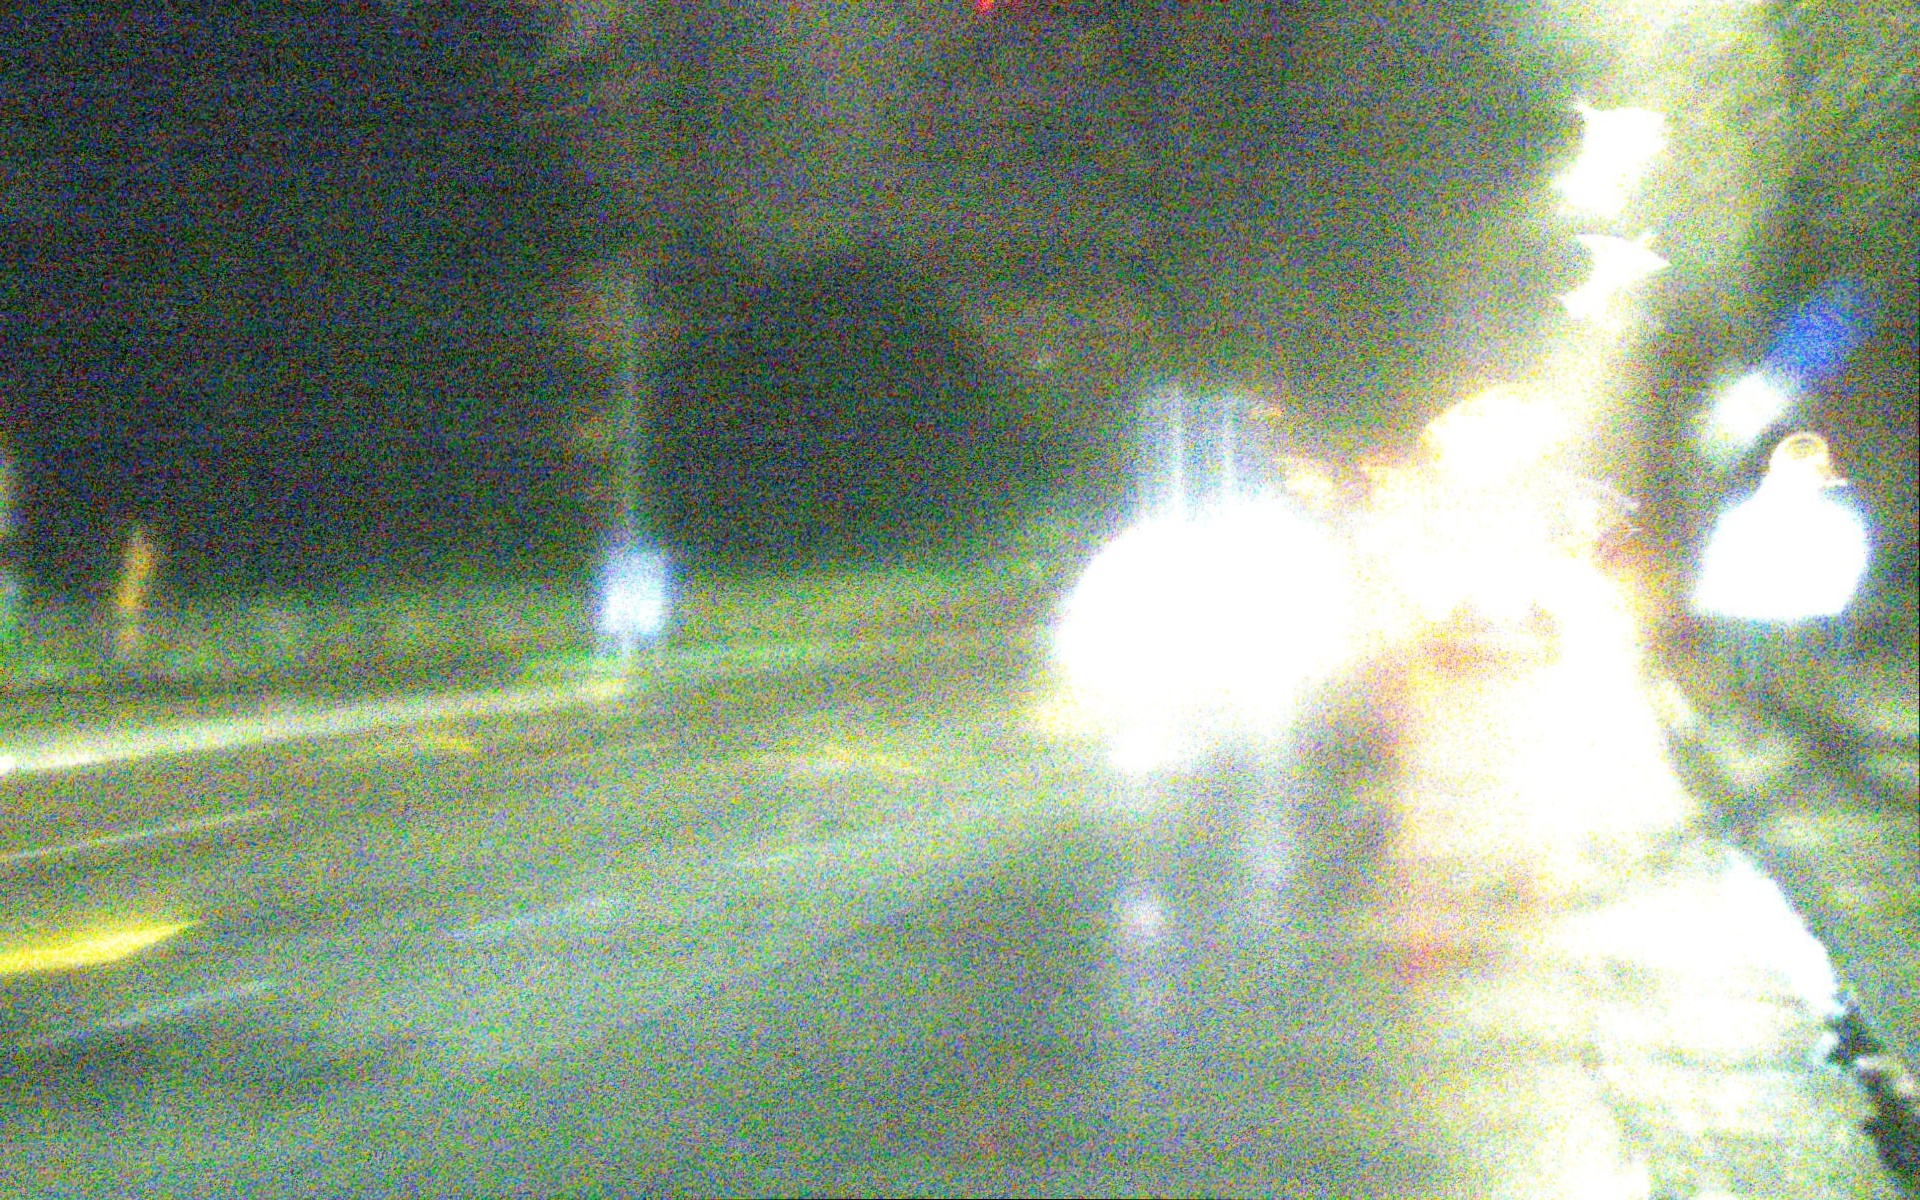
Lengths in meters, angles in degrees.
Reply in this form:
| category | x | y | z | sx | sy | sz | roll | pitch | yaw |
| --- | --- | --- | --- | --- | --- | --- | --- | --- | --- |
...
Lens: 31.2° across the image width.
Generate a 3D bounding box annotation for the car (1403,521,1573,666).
| category | x | y | z | sx | sy | sz | roll | pitch | yaw |
| --- | --- | --- | --- | --- | --- | --- | --- | --- | --- |
| car | 6.853 | -0.122 | 44.457 | 1.994 | 1.678 | 3.999 | 3 | 2 | 10 |
